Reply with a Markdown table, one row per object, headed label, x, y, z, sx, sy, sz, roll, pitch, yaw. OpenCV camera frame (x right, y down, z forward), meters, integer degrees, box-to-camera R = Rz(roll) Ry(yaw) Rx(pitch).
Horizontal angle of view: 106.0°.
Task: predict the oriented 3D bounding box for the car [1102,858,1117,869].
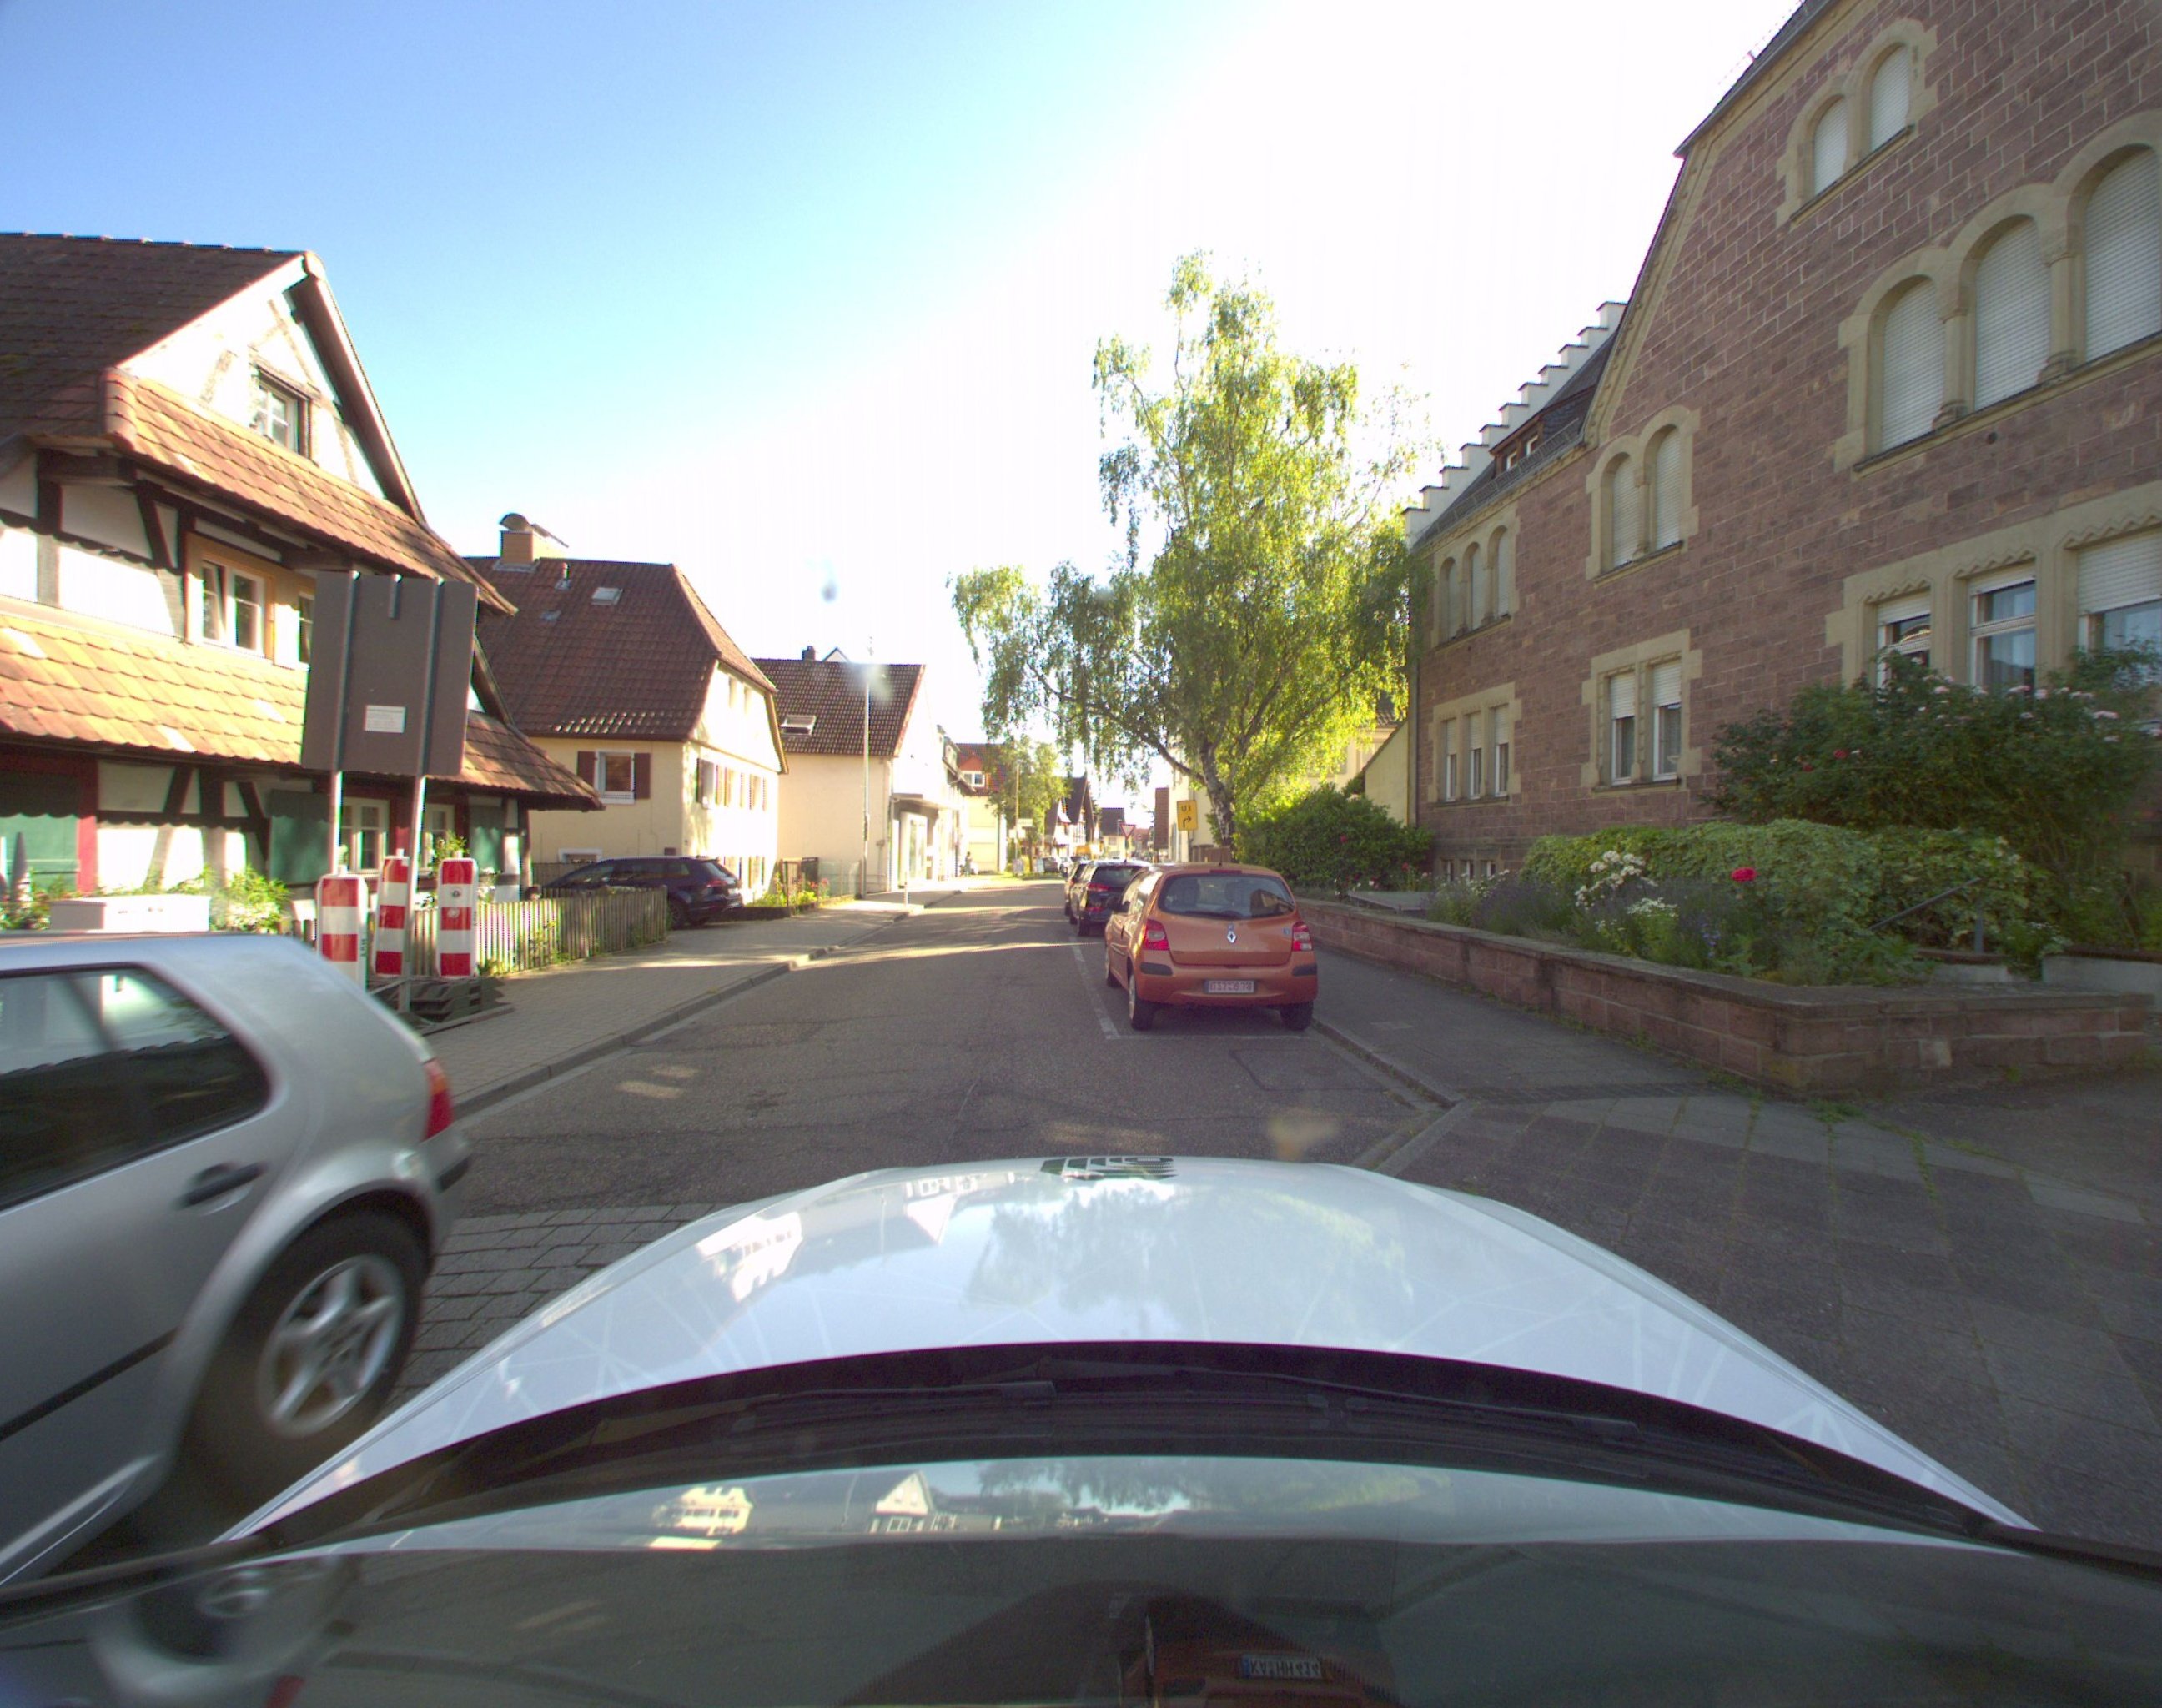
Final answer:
| label | x | y | z | sx | sy | sz | roll | pitch | yaw |
| --- | --- | --- | --- | --- | --- | --- | --- | --- | --- |
| car | 3.394 | 1.116 | 97.020 | 1.580 | 1.336 | 3.620 | 1 | 0 | 6 |

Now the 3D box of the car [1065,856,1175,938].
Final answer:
| label | x | y | z | sx | sy | sz | roll | pitch | yaw |
| --- | --- | --- | --- | --- | --- | --- | --- | --- | --- |
| car | 0.679 | 0.797 | 17.028 | 1.804 | 1.436 | 4.280 | 1 | 0 | -4 |

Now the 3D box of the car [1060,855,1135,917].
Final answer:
| label | x | y | z | sx | sy | sz | roll | pitch | yaw |
| --- | --- | --- | --- | --- | --- | --- | --- | --- | --- |
| car | 0.400 | 0.768 | 21.747 | 1.801 | 1.436 | 4.285 | 1 | 0 | 0 |

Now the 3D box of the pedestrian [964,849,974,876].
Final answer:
| label | x | y | z | sx | sy | sz | roll | pitch | yaw |
| --- | --- | --- | --- | --- | --- | --- | --- | --- | --- |
| pedestrian | -7.302 | 0.552 | 52.963 | 0.481 | 1.693 | 0.557 | 1 | -2 | 3 |

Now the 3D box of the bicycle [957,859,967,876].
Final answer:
| label | x | y | z | sx | sy | sz | roll | pitch | yaw |
| --- | --- | --- | --- | --- | --- | --- | --- | --- | --- |
| bicycle | -7.725 | 0.895 | 52.792 | 0.422 | 1.052 | 1.381 | 0 | -1 | 0 |

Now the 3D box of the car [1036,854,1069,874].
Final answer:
| label | x | y | z | sx | sy | sz | roll | pitch | yaw |
| --- | --- | --- | --- | --- | --- | --- | --- | --- | --- |
| car | -2.226 | 0.823 | 64.832 | 1.857 | 1.506 | 4.117 | 1 | -1 | 8 |

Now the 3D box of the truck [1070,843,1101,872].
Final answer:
| label | x | y | z | sx | sy | sz | roll | pitch | yaw |
| --- | --- | --- | --- | --- | --- | --- | --- | --- | --- |
| truck | 0.517 | 0.361 | 83.487 | 2.255 | 2.868 | 5.796 | 1 | -1 | 9 |

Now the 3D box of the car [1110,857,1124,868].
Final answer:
| label | x | y | z | sx | sy | sz | roll | pitch | yaw |
| --- | --- | --- | --- | --- | --- | --- | --- | --- | --- |
| car | 4.659 | 1.090 | 105.555 | 1.580 | 1.443 | 3.620 | 1 | 0 | 6 |

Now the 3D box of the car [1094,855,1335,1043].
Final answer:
| label | x | y | z | sx | sy | sz | roll | pitch | yaw |
| --- | --- | --- | --- | --- | --- | --- | --- | --- | --- |
| car | 1.127 | 0.780 | 8.590 | 1.645 | 1.478 | 3.928 | 1 | 0 | -4 |

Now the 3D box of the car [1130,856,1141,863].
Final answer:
| label | x | y | z | sx | sy | sz | roll | pitch | yaw |
| --- | --- | --- | --- | --- | --- | --- | --- | --- | --- |
| car | 13.252 | 1.336 | 198.114 | 1.970 | 1.583 | 3.987 | 1 | 0 | -6 |

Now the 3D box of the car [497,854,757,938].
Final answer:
| label | x | y | z | sx | sy | sz | roll | pitch | yaw |
| --- | --- | --- | --- | --- | --- | --- | --- | --- | --- |
| car | -9.024 | 0.793 | 16.526 | 4.154 | 1.462 | 1.844 | -2 | 0 | -7 |

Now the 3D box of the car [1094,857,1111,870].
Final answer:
| label | x | y | z | sx | sy | sz | roll | pitch | yaw |
| --- | --- | --- | --- | --- | --- | --- | --- | --- | --- |
| car | 2.407 | 1.062 | 92.460 | 1.637 | 1.433 | 3.620 | 1 | 0 | 6 |

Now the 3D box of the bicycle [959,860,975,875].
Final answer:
| label | x | y | z | sx | sy | sz | roll | pitch | yaw |
| --- | --- | --- | --- | --- | --- | --- | --- | --- | --- |
| bicycle | -7.882 | 0.935 | 56.204 | 0.575 | 1.052 | 2.039 | 0 | -1 | 7 |

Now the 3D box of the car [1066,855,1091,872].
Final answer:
| label | x | y | z | sx | sy | sz | roll | pitch | yaw |
| --- | --- | --- | --- | --- | --- | --- | --- | --- | --- |
| car | -0.258 | 0.896 | 78.045 | 1.796 | 1.622 | 3.890 | 1 | -1 | 8 |

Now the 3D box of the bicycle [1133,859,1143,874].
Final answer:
| label | x | y | z | sx | sy | sz | roll | pitch | yaw |
| --- | --- | --- | --- | --- | --- | --- | --- | --- | --- |
| bicycle | 4.660 | 0.997 | 65.973 | 0.430 | 1.176 | 1.836 | 0 | 0 | 16 |

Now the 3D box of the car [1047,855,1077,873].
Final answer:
| label | x | y | z | sx | sy | sz | roll | pitch | yaw |
| --- | --- | --- | --- | --- | --- | --- | --- | --- | --- |
| car | -1.584 | 0.850 | 69.187 | 1.796 | 1.506 | 4.117 | 1 | -1 | 8 |

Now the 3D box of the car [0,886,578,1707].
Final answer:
| label | x | y | z | sx | sy | sz | roll | pitch | yaw |
| --- | --- | --- | --- | --- | --- | --- | --- | --- | --- |
| car | -2.674 | 0.856 | 1.037 | 1.666 | 1.402 | 3.890 | -2 | 0 | -2 |
